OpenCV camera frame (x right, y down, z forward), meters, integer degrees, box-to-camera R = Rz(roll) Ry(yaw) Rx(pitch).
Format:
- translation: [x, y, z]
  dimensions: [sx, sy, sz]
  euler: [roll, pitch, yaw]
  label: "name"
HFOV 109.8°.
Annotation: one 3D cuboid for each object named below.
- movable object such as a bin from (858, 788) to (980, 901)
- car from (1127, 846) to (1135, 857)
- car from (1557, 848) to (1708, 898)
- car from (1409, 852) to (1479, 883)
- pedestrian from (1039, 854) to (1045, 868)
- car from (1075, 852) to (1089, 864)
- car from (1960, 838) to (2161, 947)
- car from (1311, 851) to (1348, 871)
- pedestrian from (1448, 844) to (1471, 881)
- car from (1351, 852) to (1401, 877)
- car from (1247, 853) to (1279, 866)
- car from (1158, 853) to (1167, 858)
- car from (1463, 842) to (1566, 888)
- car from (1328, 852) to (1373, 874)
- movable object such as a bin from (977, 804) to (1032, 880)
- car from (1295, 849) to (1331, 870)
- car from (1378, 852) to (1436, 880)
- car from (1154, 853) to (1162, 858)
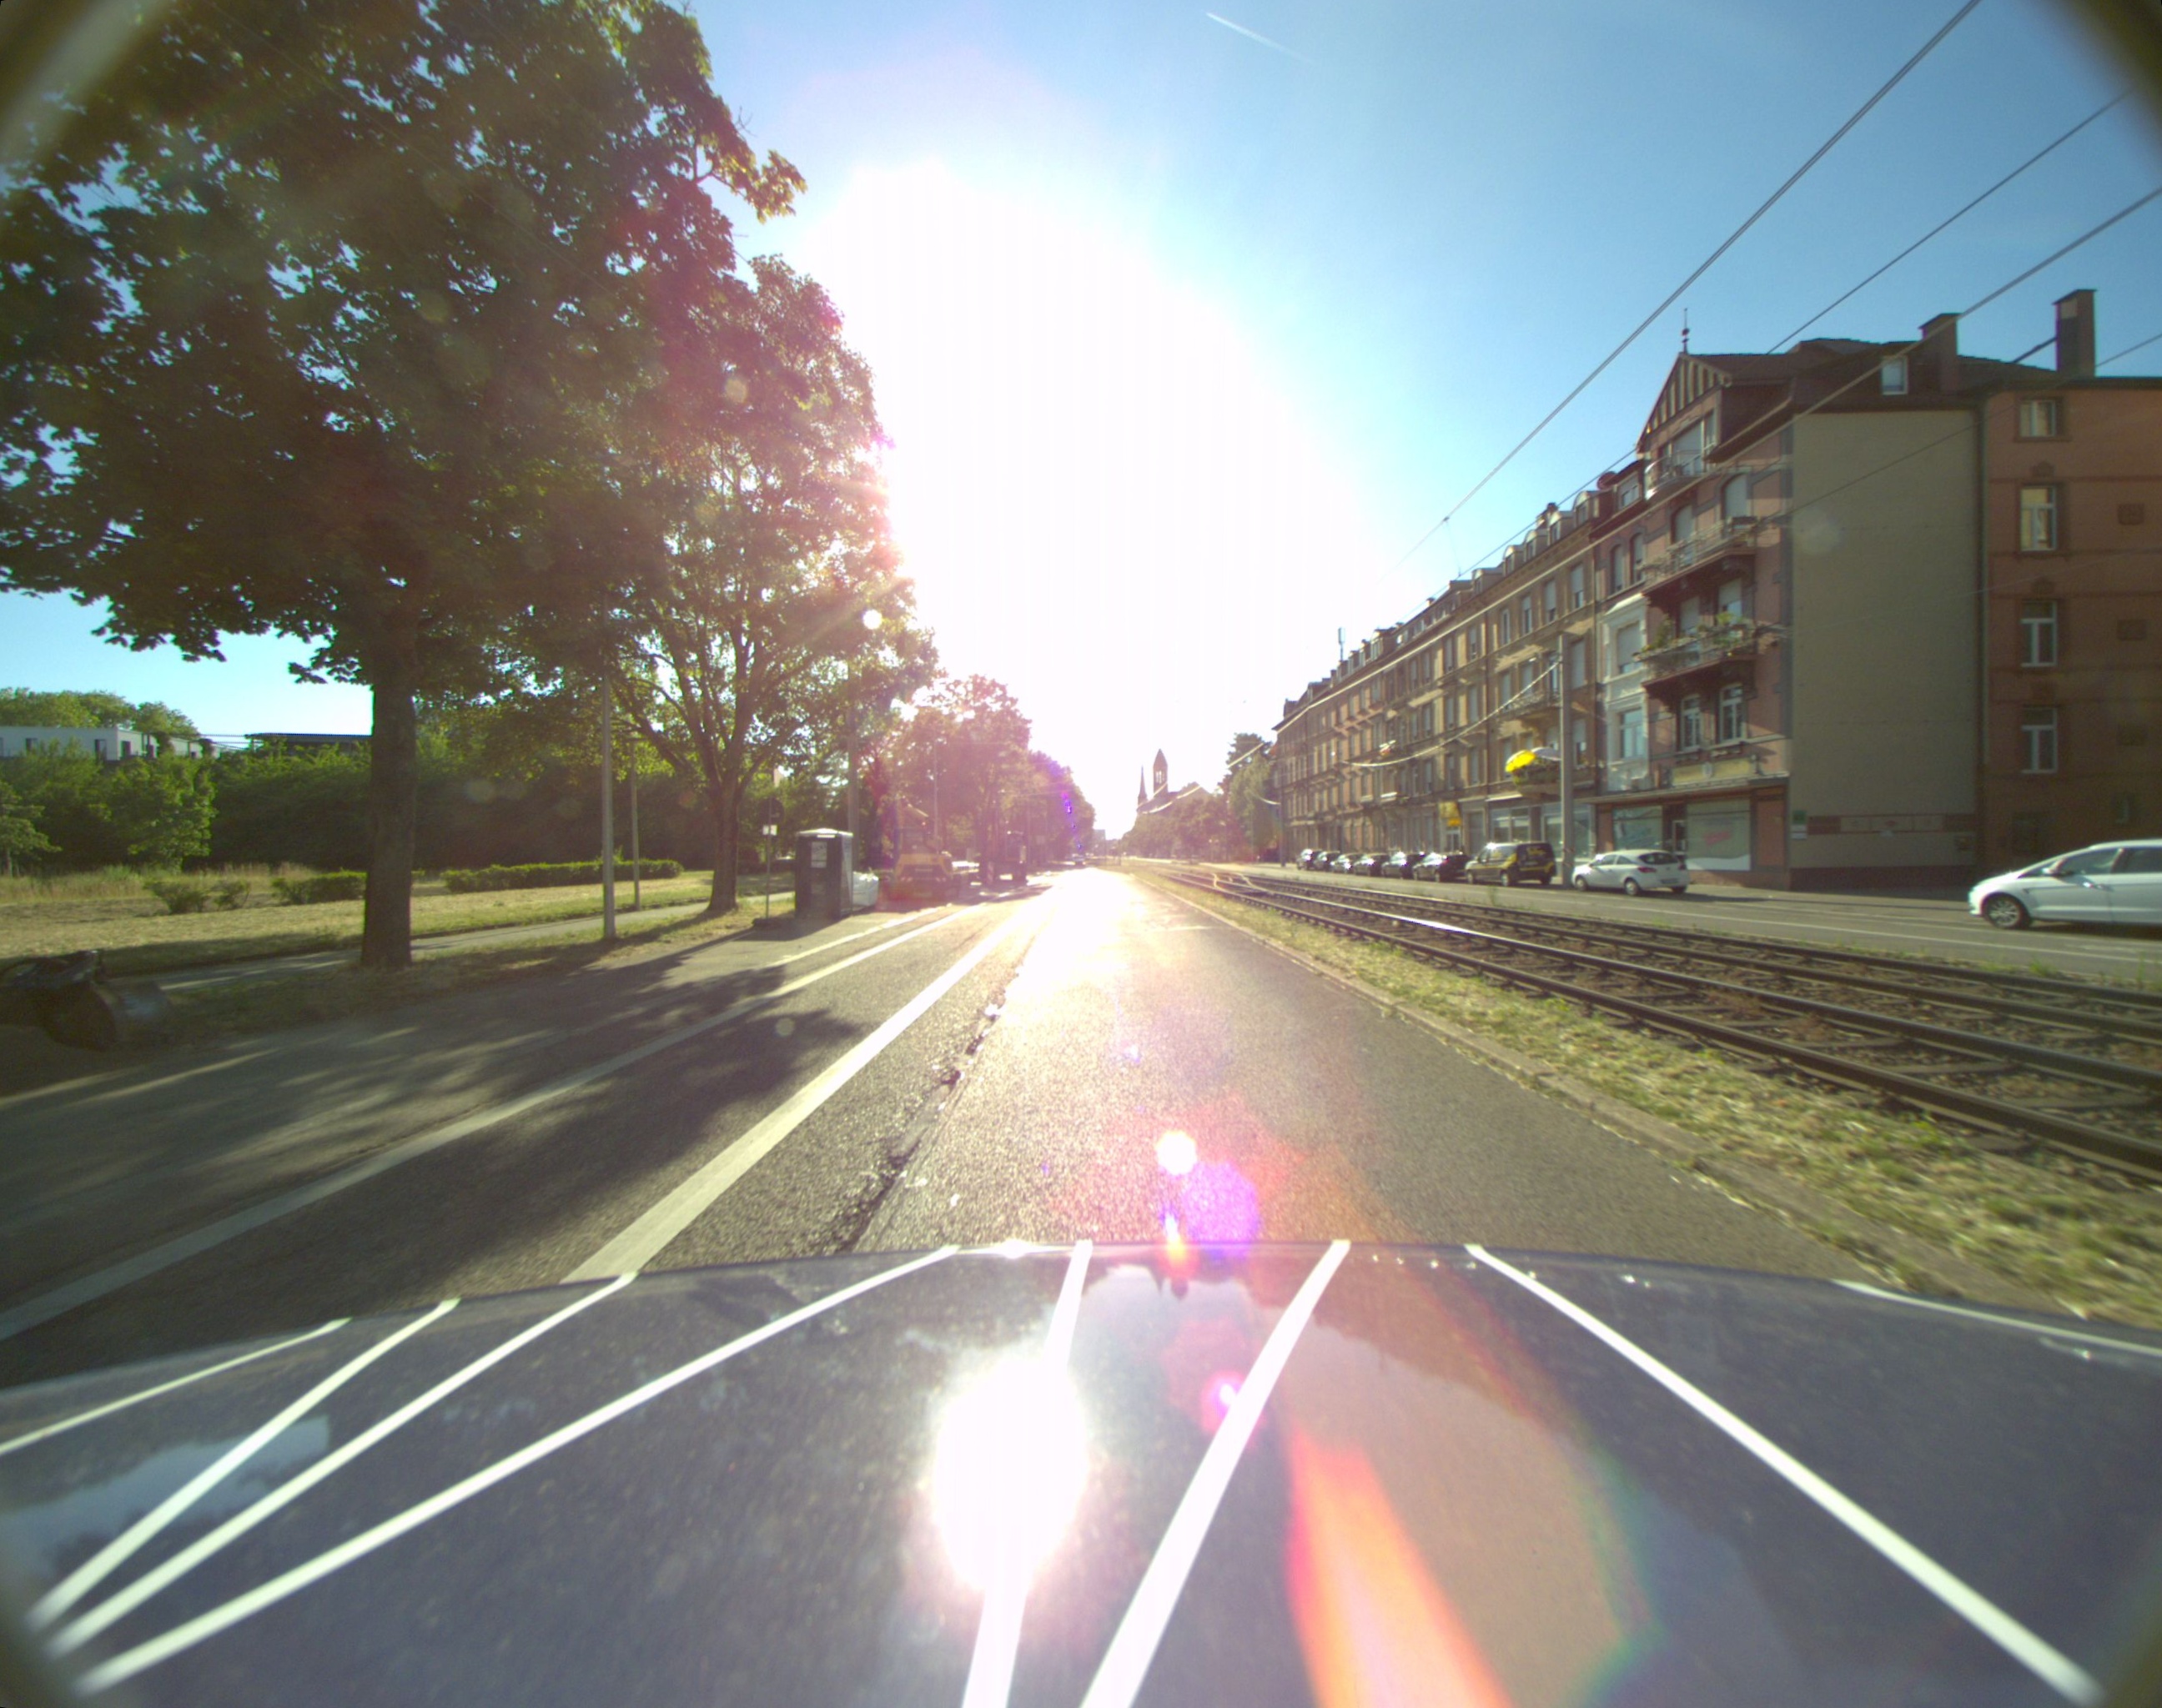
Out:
- translation: [-6.329, -0.350, 31.091]
  dimensions: [3.347, 3.953, 7.597]
  euler: [2, 0, -1]
  label: "movable object such as a bin"
- translation: [13.031, -0.624, 196.559]
  dimensions: [1.799, 2.766, 4.000]
  euler: [-1, 1, 0]
  label: "car"
- translation: [18.961, 0.597, 26.442]
  dimensions: [1.925, 1.529, 4.627]
  euler: [-2, 0, 1]
  label: "car"
- translation: [18.307, 0.641, 38.557]
  dimensions: [1.664, 1.437, 3.981]
  euler: [-3, 0, 1]
  label: "car"
- translation: [-4.556, 0.781, 88.420]
  dimensions: [0.532, 1.653, 0.486]
  euler: [1, 0, -22]
  label: "pedestrian"
- translation: [0.115, 0.523, 103.522]
  dimensions: [1.799, 1.501, 4.000]
  euler: [-3, 0, 1]
  label: "car"
- translation: [18.525, 0.623, 12.891]
  dimensions: [1.925, 1.674, 4.626]
  euler: [-2, 2, 1]
  label: "car"
- translation: [19.345, 0.549, 59.318]
  dimensions: [1.664, 1.437, 3.765]
  euler: [-3, 0, 1]
  label: "car"
- translation: [21.251, 0.486, 42.638]
  dimensions: [0.637, 2.002, 0.875]
  euler: [-4, 2, -29]
  label: "pedestrian"
- translation: [19.033, 0.660, 49.204]
  dimensions: [1.664, 1.437, 3.981]
  euler: [-3, 0, 1]
  label: "car"
- translation: [25.234, 0.757, 105.103]
  dimensions: [3.991, 1.502, 1.802]
  euler: [-3, 1, 22]
  label: "car"
- translation: [20.989, 0.382, 196.765]
  dimensions: [1.799, 1.501, 3.999]
  euler: [0, 0, -1]
  label: "car"
- translation: [18.633, 0.444, 32.952]
  dimensions: [1.664, 1.797, 4.728]
  euler: [-3, 0, 0]
  label: "car"
- translation: [19.002, 0.592, 53.738]
  dimensions: [1.664, 1.437, 4.196]
  euler: [-3, 0, 1]
  label: "car"
- translation: [-4.979, -0.757, 50.989]
  dimensions: [2.922, 4.584, 7.597]
  euler: [2, 0, -1]
  label: "movable object such as a bin"
- translation: [19.379, 0.437, 63.683]
  dimensions: [1.798, 1.633, 4.631]
  euler: [-3, 0, 3]
  label: "car"
- translation: [18.763, 0.651, 43.958]
  dimensions: [1.664, 1.437, 3.981]
  euler: [-3, 0, 1]
  label: "car"
- translation: [21.089, 0.371, 207.564]
  dimensions: [1.799, 1.501, 3.999]
  euler: [0, 0, -1]
  label: "car"
